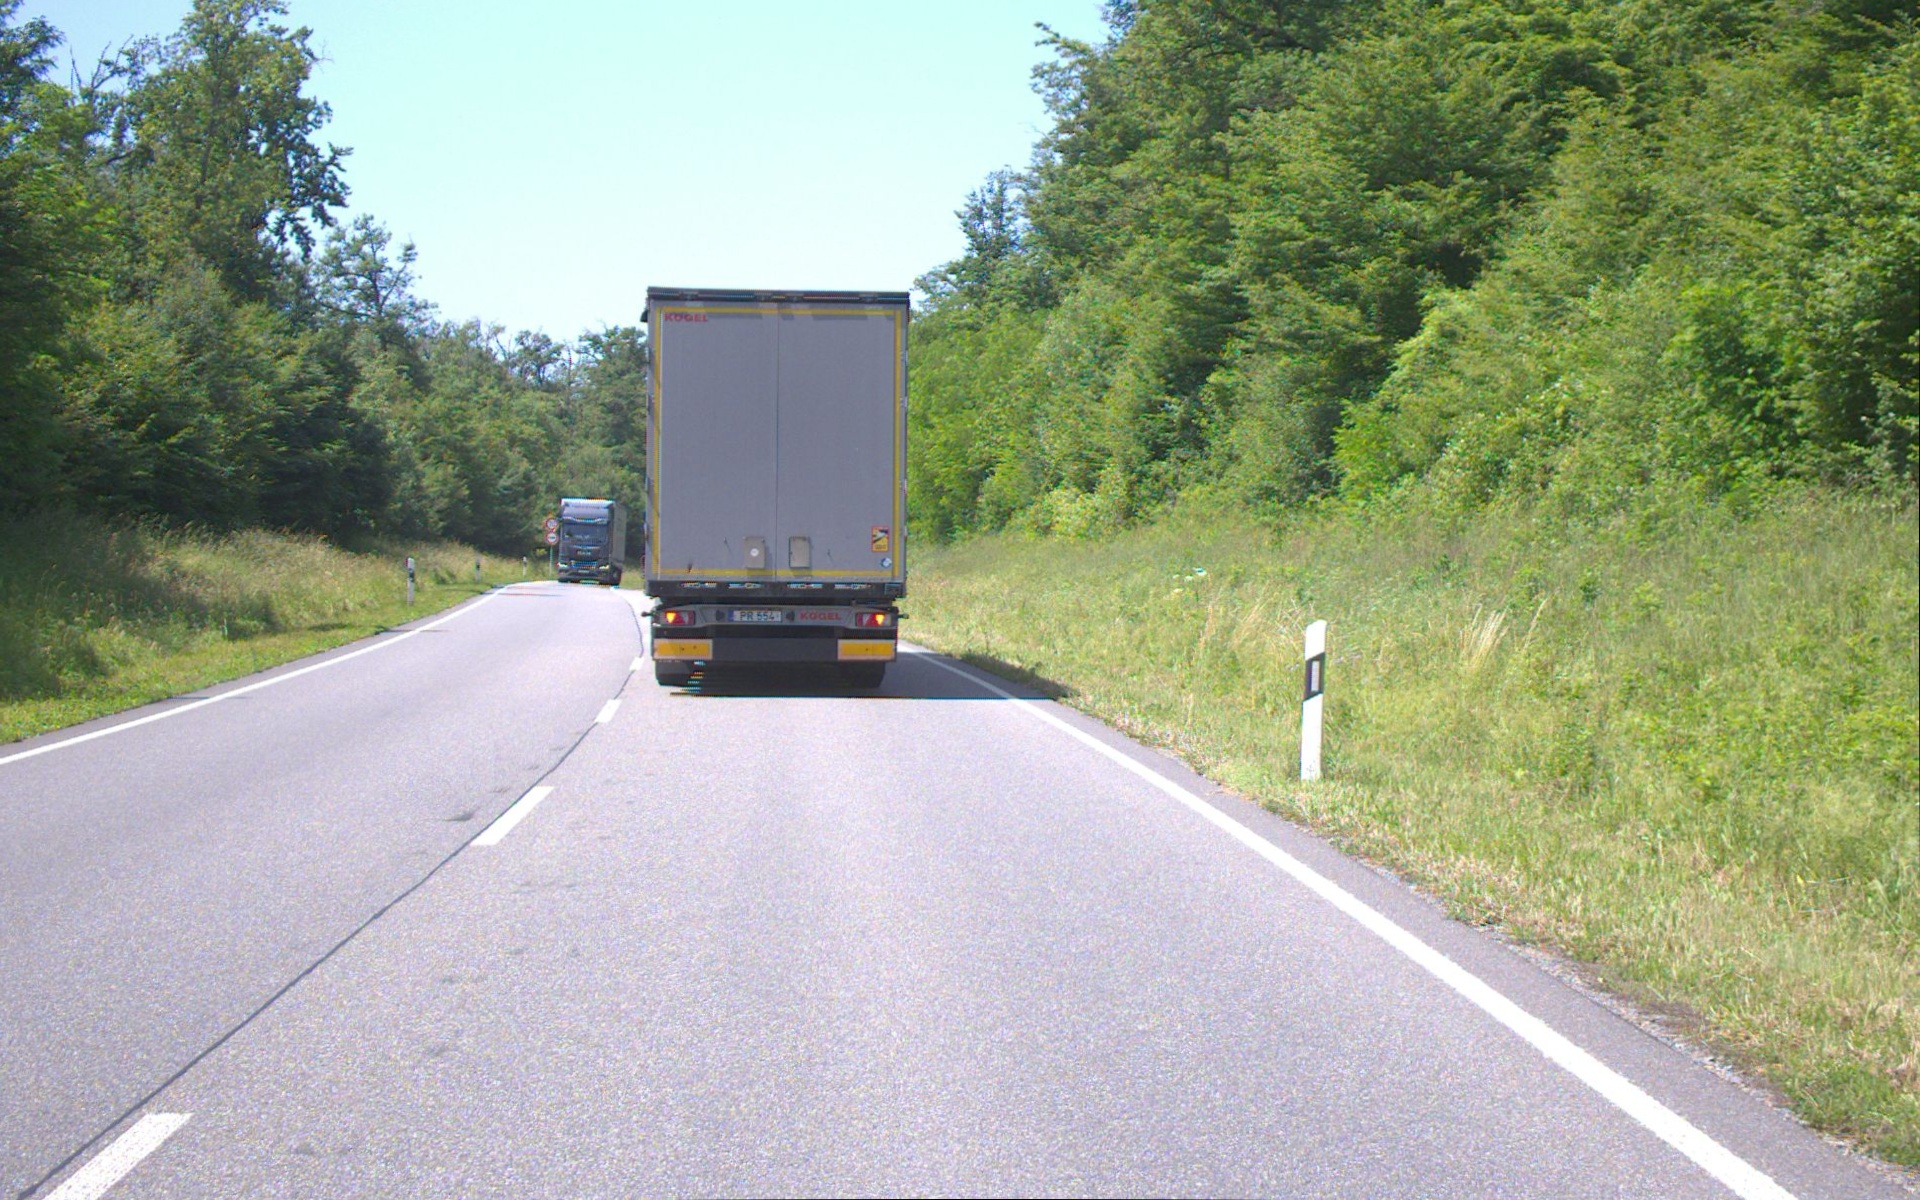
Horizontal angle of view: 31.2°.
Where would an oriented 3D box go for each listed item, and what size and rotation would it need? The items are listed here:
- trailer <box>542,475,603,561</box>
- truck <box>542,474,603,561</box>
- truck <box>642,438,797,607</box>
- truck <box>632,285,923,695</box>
[{"bbox_3d":[-19.716,-4.168,175.482,2.941,4.238,13.623,0,1,-6],"label":"trailer"},{"bbox_3d":[-18.954,-4.024,168.288,2.922,4.201,5.344,0,1,-6],"label":"truck"},{"bbox_3d":[-7.091,-2.143,98.933,3.792,4.358,14.923,2,0,-6],"label":"truck"},{"bbox_3d":[-2.153,-1.188,39.457,2.761,3.933,12.199,1,1,-4],"label":"truck"}]
